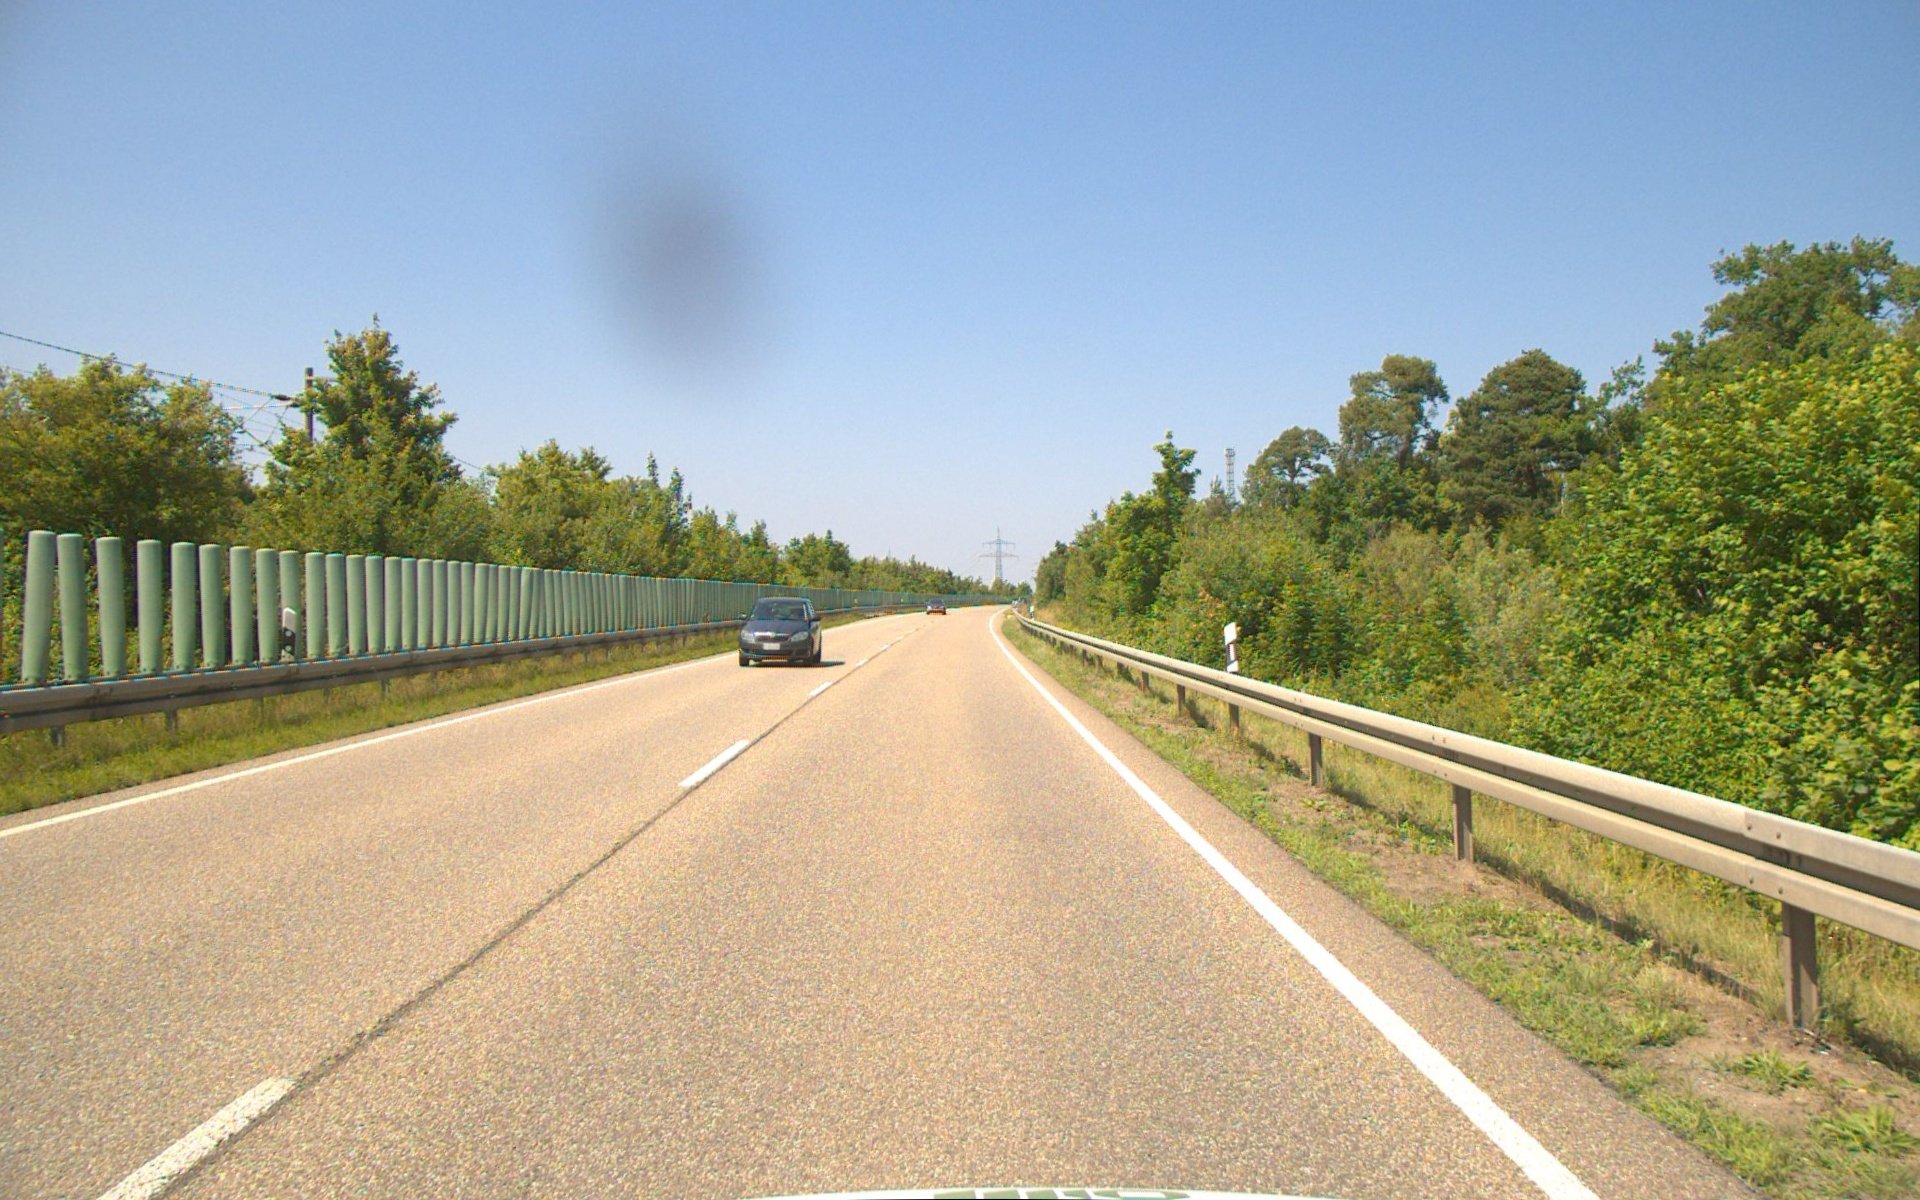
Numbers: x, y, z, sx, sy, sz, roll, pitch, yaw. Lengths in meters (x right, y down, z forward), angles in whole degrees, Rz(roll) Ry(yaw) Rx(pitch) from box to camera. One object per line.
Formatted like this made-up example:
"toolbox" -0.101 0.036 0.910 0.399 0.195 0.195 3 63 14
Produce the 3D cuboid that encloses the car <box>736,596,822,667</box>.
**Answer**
"car" -4.020 0.676 37.210 1.615 1.505 3.676 1 0 -2

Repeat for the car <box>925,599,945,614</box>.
"car" -2.315 0.590 152.460 1.750 1.395 3.897 1 0 0
